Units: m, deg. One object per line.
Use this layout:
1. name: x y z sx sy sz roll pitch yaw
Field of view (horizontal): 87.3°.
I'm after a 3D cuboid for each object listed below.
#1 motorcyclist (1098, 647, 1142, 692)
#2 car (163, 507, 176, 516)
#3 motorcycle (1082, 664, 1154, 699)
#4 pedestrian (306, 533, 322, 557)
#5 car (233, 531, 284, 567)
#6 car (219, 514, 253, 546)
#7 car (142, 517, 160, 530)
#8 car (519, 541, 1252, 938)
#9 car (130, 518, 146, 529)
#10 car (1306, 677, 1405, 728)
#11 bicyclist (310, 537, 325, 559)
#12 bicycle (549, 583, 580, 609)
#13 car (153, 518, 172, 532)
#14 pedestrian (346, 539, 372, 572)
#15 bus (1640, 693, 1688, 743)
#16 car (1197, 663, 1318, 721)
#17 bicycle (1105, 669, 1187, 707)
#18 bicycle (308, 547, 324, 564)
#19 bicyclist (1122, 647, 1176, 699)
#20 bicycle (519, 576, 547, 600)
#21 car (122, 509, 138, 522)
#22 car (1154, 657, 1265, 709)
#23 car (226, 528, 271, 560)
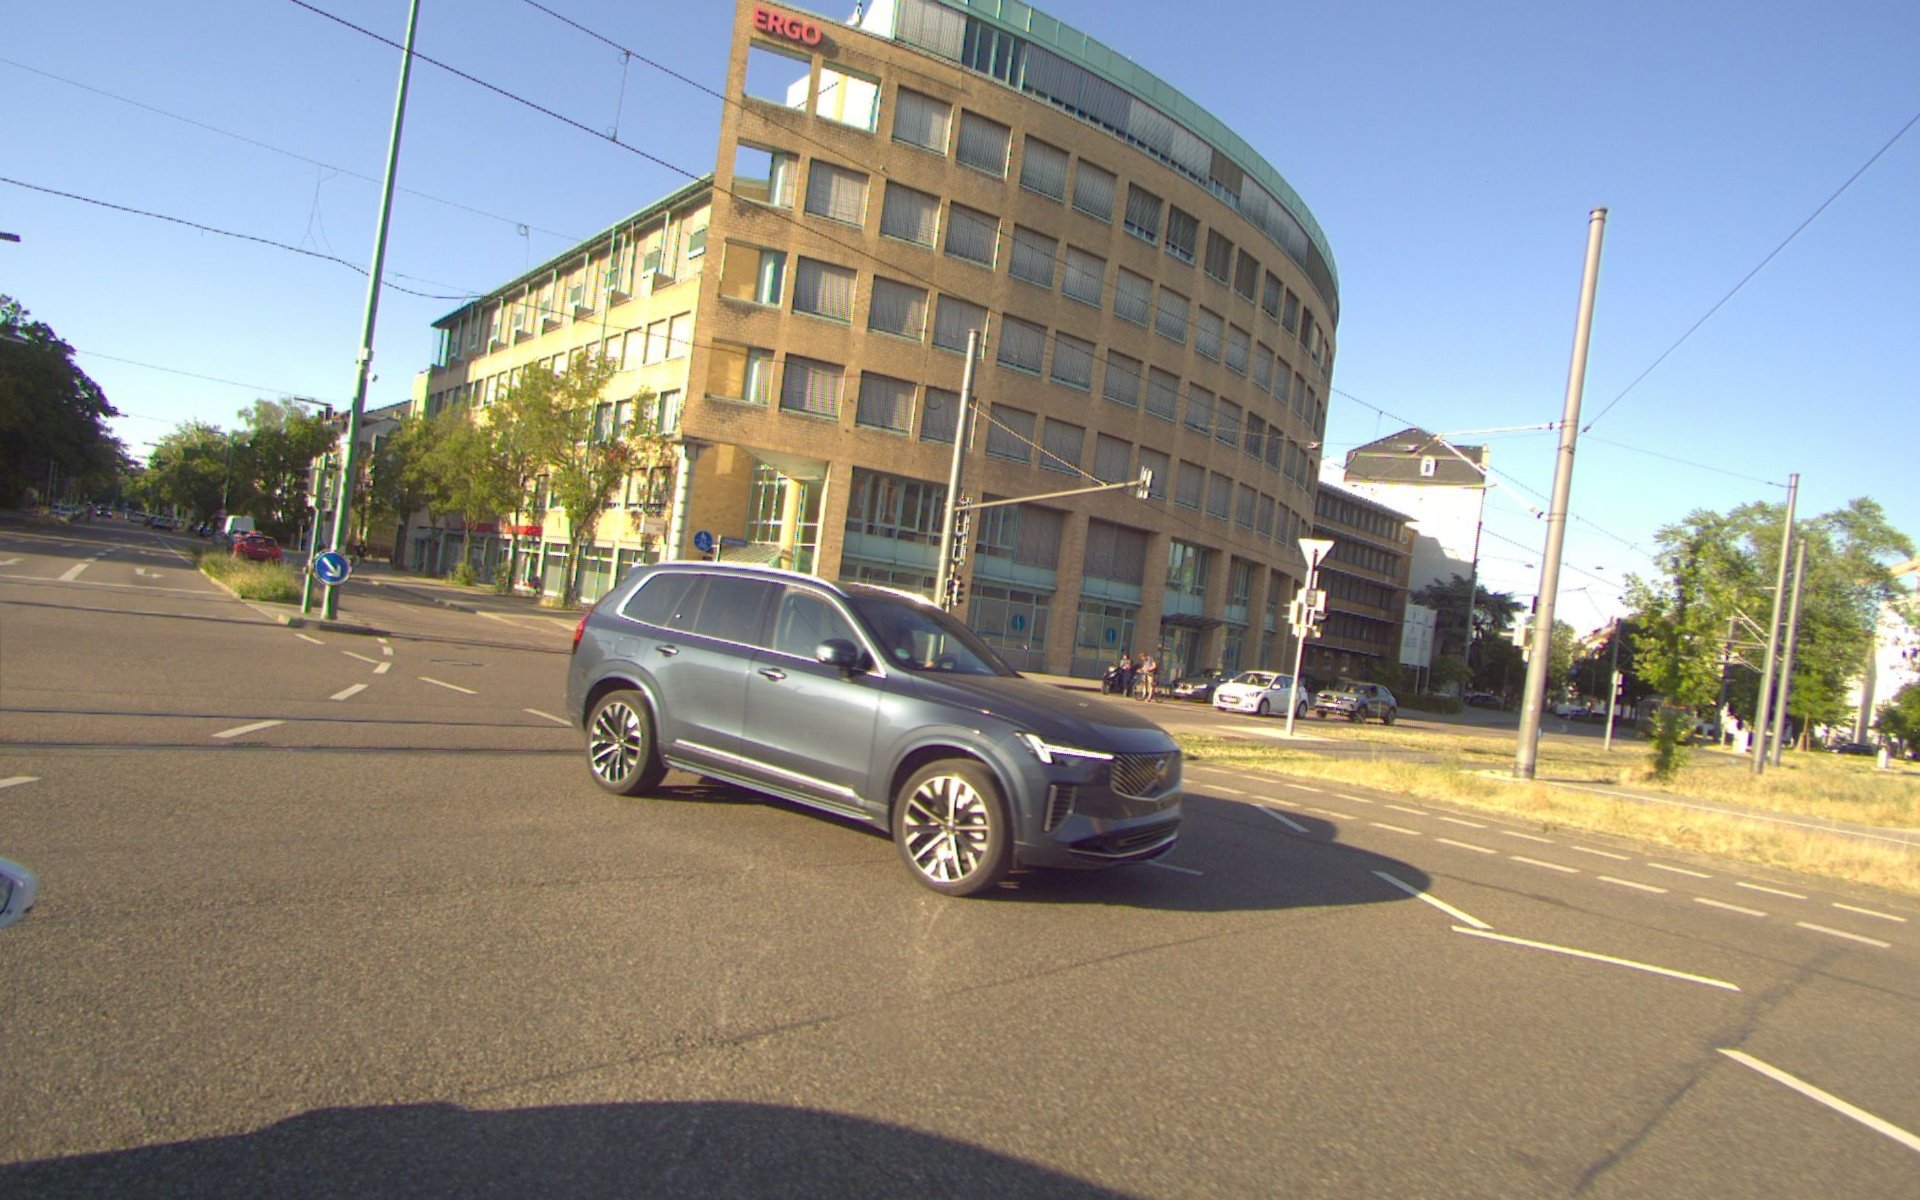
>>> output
1. motorcyclist: 5.881 2.549 36.927 1.061 1.452 1.020 8 -1 -41
2. car: -136.090 -15.196 173.127 1.588 1.282 3.230 8 -1 -40
3. motorcycle: 5.816 2.989 36.916 2.708 0.975 1.020 9 -2 -41
4. pedestrian: -52.929 -4.544 82.479 0.844 1.825 0.767 7 0 -40
5. car: -36.116 -2.631 51.740 1.664 1.479 3.956 10 -2 -40
6. car: -65.108 -6.317 90.414 1.987 2.468 3.956 9 -2 -40
7. car: -101.816 -9.618 126.615 1.588 1.282 3.230 8 -1 -40
8. car: -0.746 0.698 7.209 4.952 1.744 1.995 6 -2 35
9. car: -114.607 -10.638 140.290 1.588 1.282 3.230 8 -1 -40
10. car: 15.239 3.952 38.652 4.038 1.509 1.799 9 -2 -41
11. bicyclist: -42.892 -3.477 67.135 0.590 1.384 0.919 9 -1 -40
12. bicycle: -18.400 -0.197 46.782 0.644 1.006 2.057 8 -1 -40
13. car: -90.295 -8.455 113.902 1.588 1.282 3.230 8 -1 -40
14. pedestrian: -40.257 -2.988 67.393 1.103 1.999 1.148 8 -1 -40
15. bus: 53.611 8.964 76.780 2.372 3.247 11.095 7 -2 34
16. car: 10.131 3.142 34.114 4.150 1.509 1.971 9 -2 -42
17. bicycle: 6.393 3.015 34.405 2.951 1.012 1.140 9 -1 -42
18. bicycle: -42.982 -2.946 67.144 0.590 0.954 1.956 10 -1 -39
19. bicyclist: 6.482 2.503 34.445 1.219 1.590 1.140 8 -1 -42
20. bicycle: -21.393 -0.613 50.368 0.644 1.006 2.057 8 -1 -40
21. car: -137.555 -14.040 166.784 1.880 1.690 3.956 10 -2 -40
22. car: 10.140 3.373 40.722 4.464 1.555 1.964 9 -2 -40
23. car: -45.976 -3.624 64.982 1.910 1.625 4.222 10 -2 -40
